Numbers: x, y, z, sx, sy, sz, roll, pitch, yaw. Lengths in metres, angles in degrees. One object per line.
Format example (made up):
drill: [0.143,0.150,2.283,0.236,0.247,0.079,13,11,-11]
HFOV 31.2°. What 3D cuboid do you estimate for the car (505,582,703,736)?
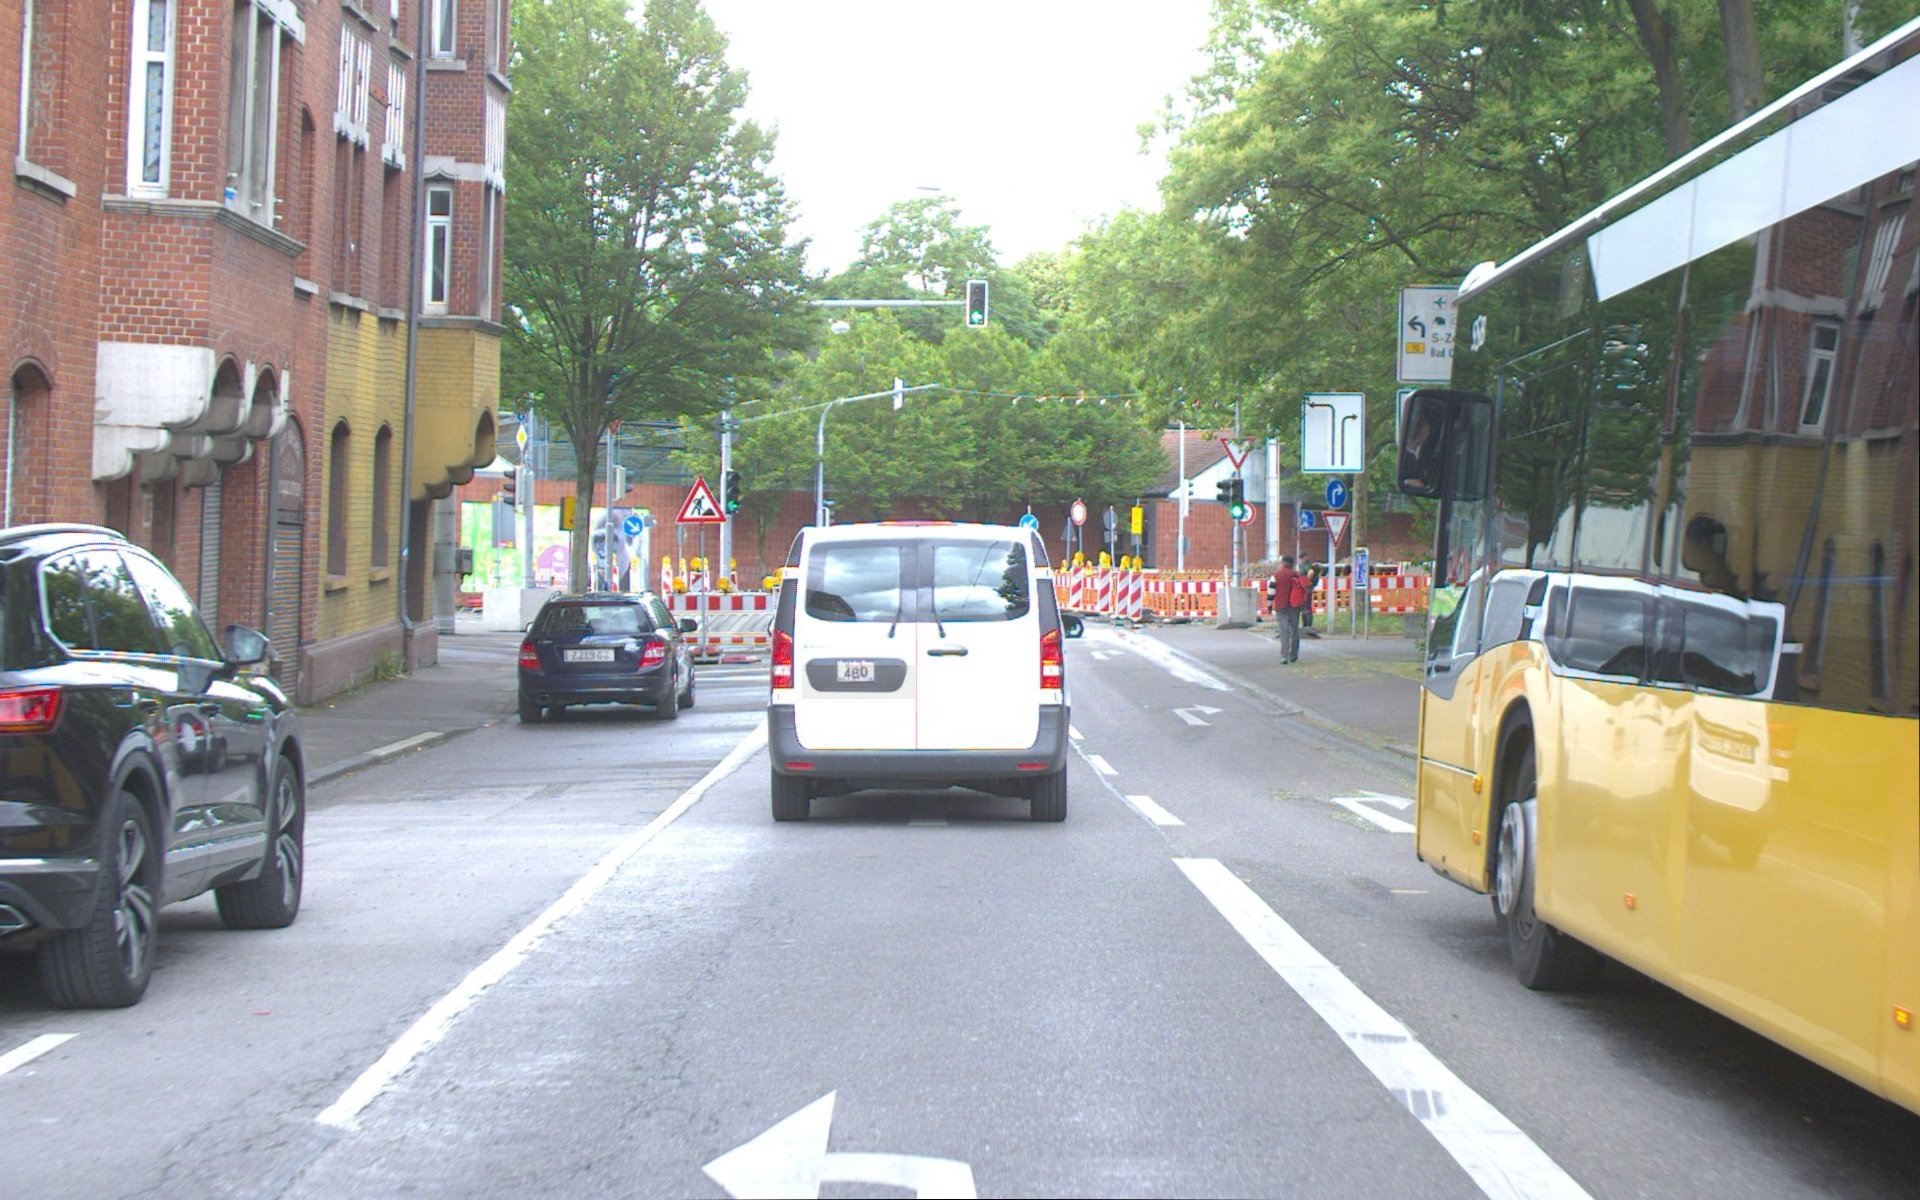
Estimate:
car: [-4.028,0.629,39.516,1.725,1.480,4.390,2,2,1]

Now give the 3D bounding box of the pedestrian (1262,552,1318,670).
pedestrian: [5.246,0.170,54.675,0.779,1.825,0.727,-2,1,0]

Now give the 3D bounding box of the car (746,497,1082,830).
car: [-0.338,0.440,23.069,1.917,1.895,4.701,3,-2,-1]

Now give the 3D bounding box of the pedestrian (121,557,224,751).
pedestrian: [-6.707,0.453,29.305,0.660,1.604,0.632,3,1,0]
